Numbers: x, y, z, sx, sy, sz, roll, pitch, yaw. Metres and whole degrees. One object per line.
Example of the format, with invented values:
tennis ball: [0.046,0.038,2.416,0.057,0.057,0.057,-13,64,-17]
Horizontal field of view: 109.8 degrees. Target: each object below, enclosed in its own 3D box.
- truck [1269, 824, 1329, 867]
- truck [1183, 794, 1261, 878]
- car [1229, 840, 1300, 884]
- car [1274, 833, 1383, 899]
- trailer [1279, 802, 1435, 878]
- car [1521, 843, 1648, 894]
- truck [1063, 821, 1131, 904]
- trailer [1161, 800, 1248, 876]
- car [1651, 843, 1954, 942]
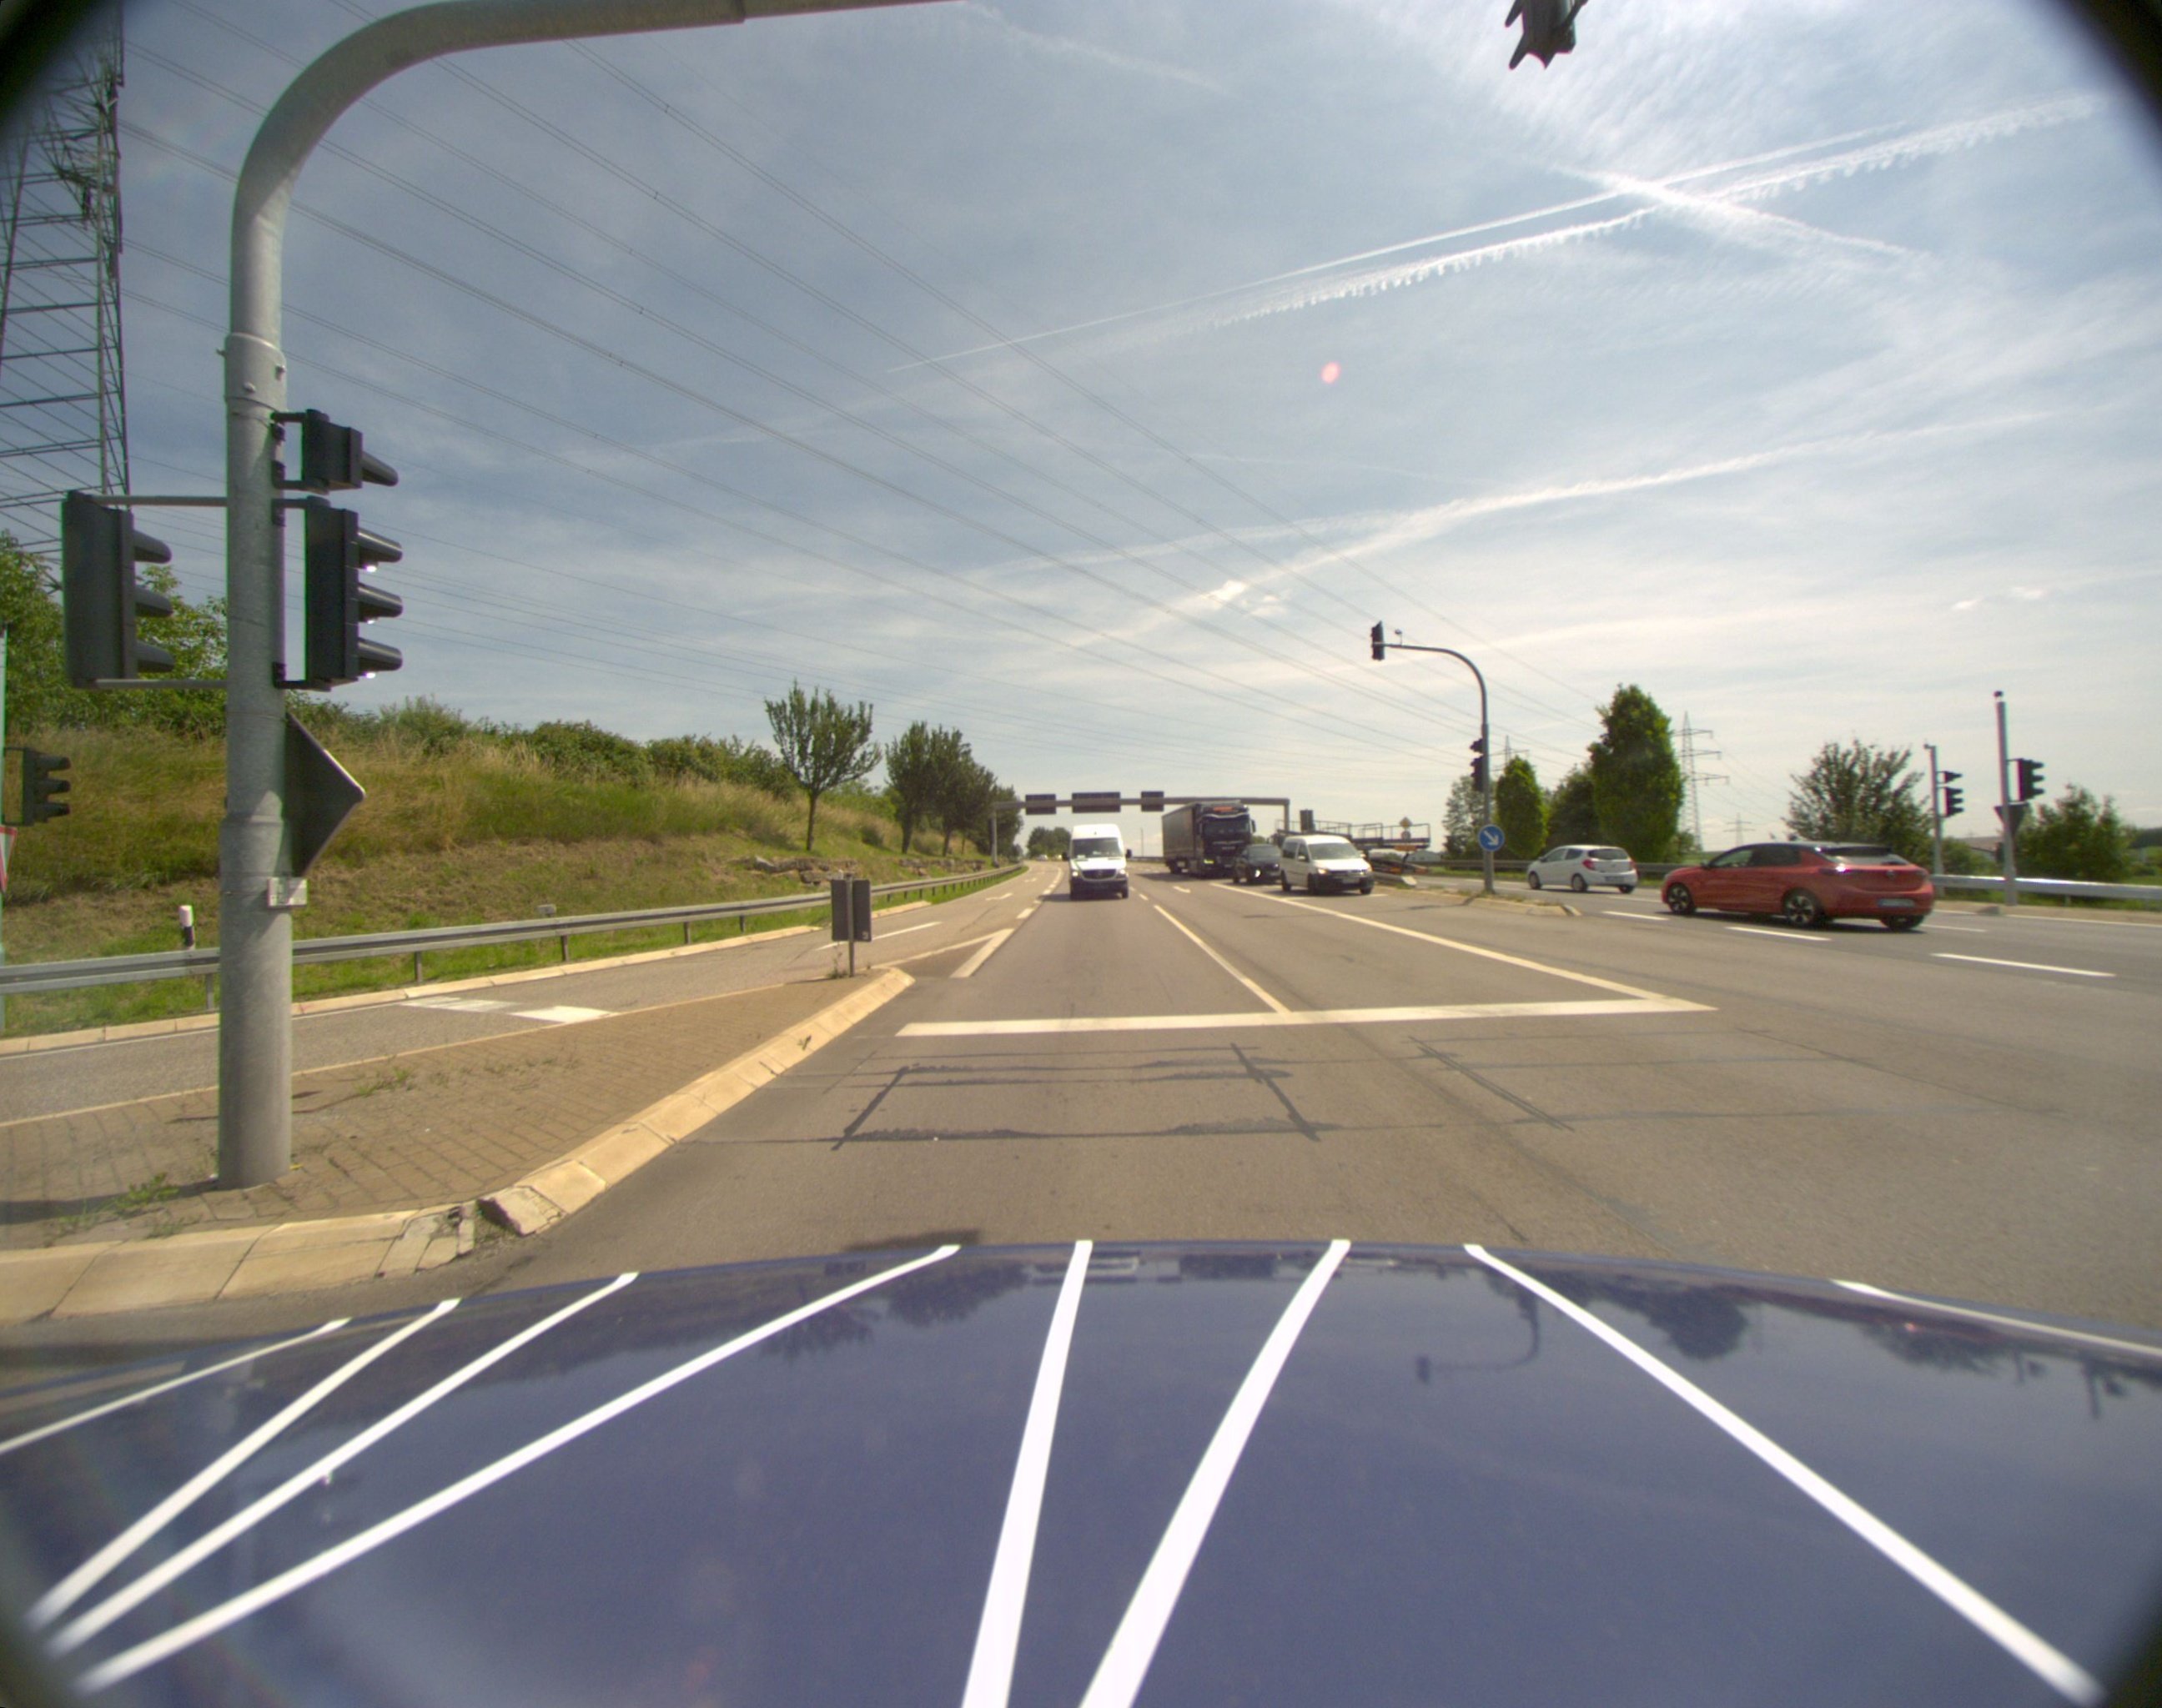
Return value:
truck: [16.346,-0.659,57.358,2.806,2.996,5.988,-1,1,1]
truck: [7.299,-0.924,40.038,2.790,3.990,5.969,-3,1,-1]
car: [7.572,0.301,31.767,1.860,1.648,4.348,-3,1,1]
car: [7.632,0.324,23.964,1.772,1.788,4.751,-3,1,-1]
trailer: [16.240,-0.876,47.503,2.646,3.742,19.794,-1,1,0]
car: [16.039,0.415,24.436,1.648,1.488,3.801,0,1,2]
truck: [0.496,0.230,26.185,1.998,2.518,5.104,-2,1,0]
trailer: [7.248,-0.929,46.855,2.790,3.891,13.783,-3,1,-1]
car: [12.524,0.570,13.621,1.648,1.488,4.066,0,1,2]
